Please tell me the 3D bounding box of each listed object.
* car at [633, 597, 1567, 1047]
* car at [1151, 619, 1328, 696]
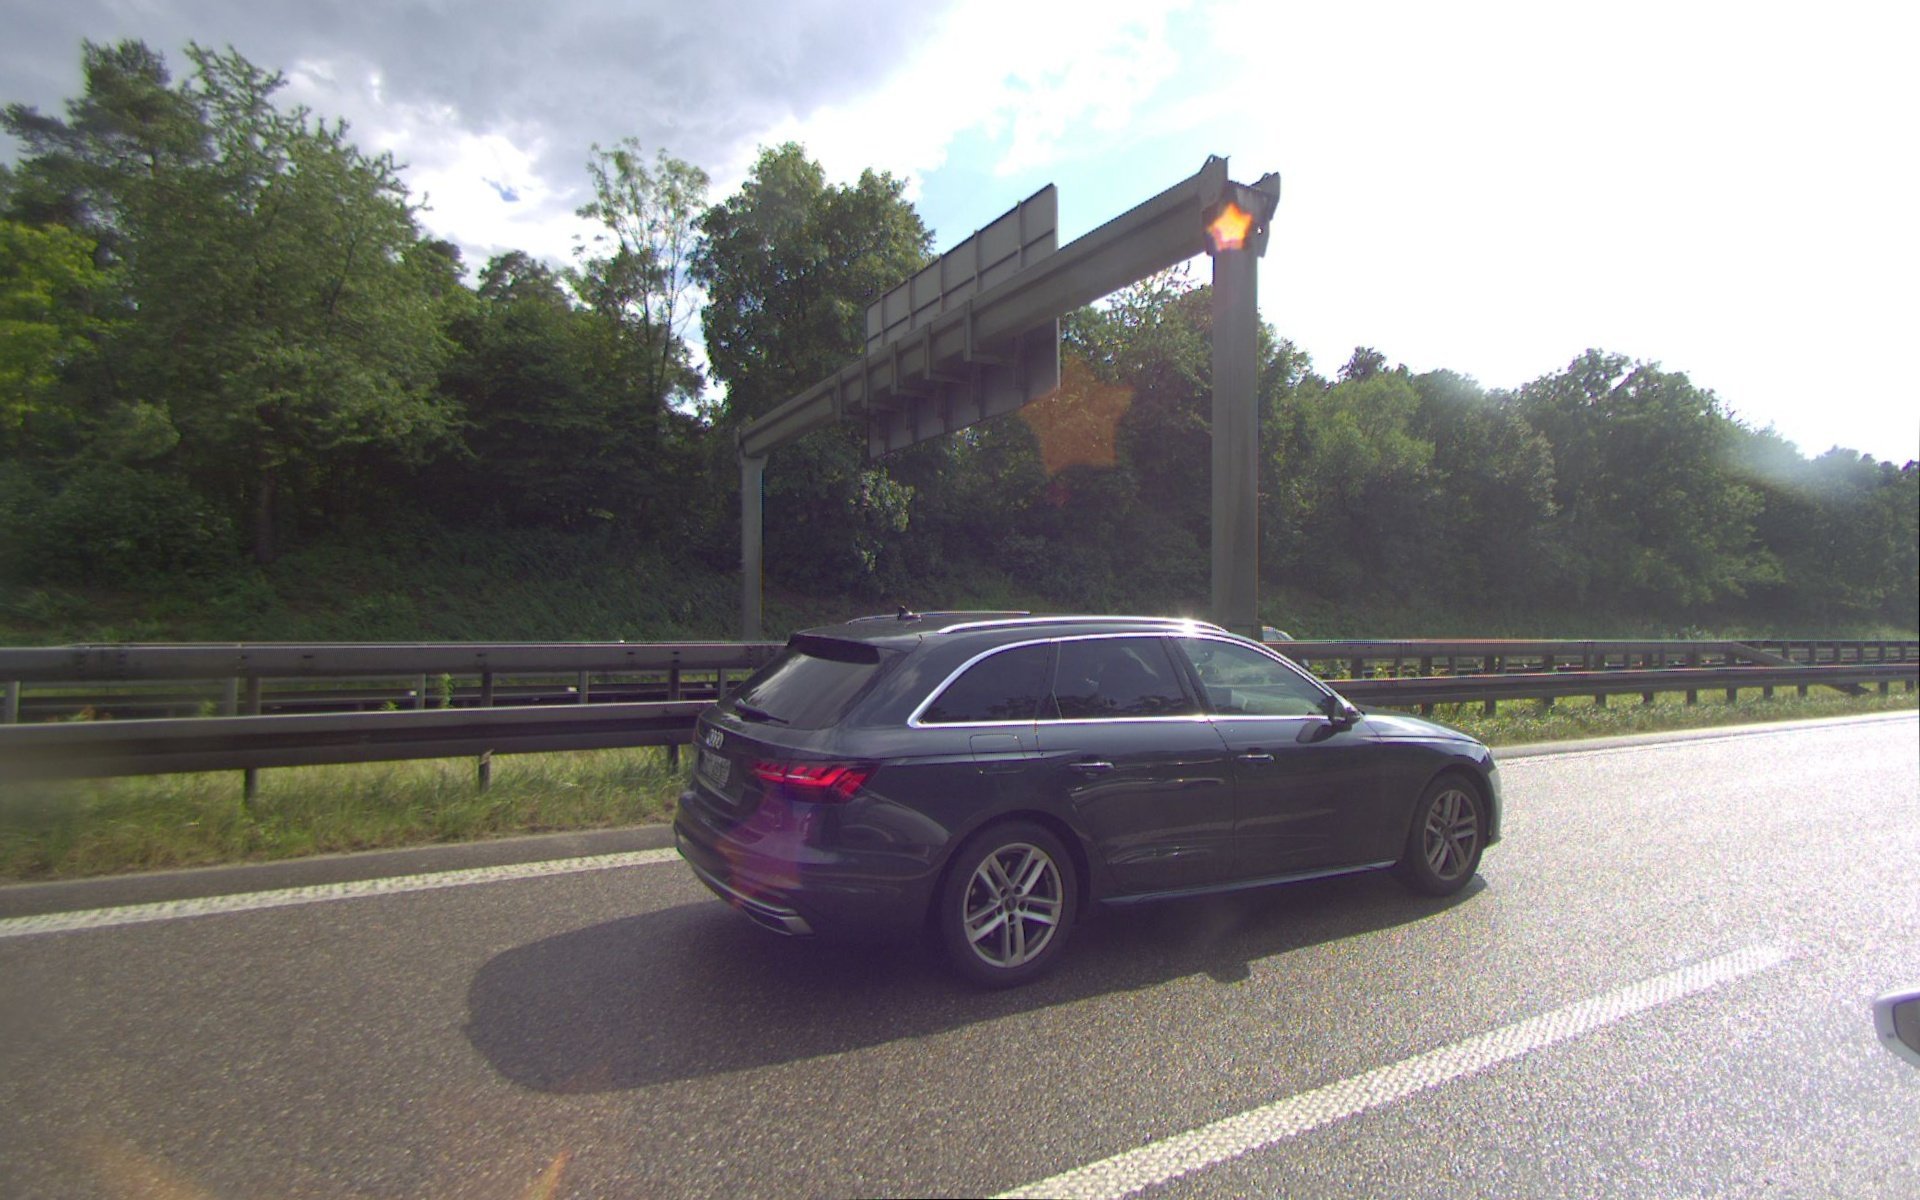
[{"bbox_3d":[0.950,0.766,5.253,4.783,1.438,1.785,1,0,-31],"label":"car"},{"bbox_3d":[6.851,1.353,24.559,3.953,1.697,1.984,1,0,-30],"label":"car"}]
